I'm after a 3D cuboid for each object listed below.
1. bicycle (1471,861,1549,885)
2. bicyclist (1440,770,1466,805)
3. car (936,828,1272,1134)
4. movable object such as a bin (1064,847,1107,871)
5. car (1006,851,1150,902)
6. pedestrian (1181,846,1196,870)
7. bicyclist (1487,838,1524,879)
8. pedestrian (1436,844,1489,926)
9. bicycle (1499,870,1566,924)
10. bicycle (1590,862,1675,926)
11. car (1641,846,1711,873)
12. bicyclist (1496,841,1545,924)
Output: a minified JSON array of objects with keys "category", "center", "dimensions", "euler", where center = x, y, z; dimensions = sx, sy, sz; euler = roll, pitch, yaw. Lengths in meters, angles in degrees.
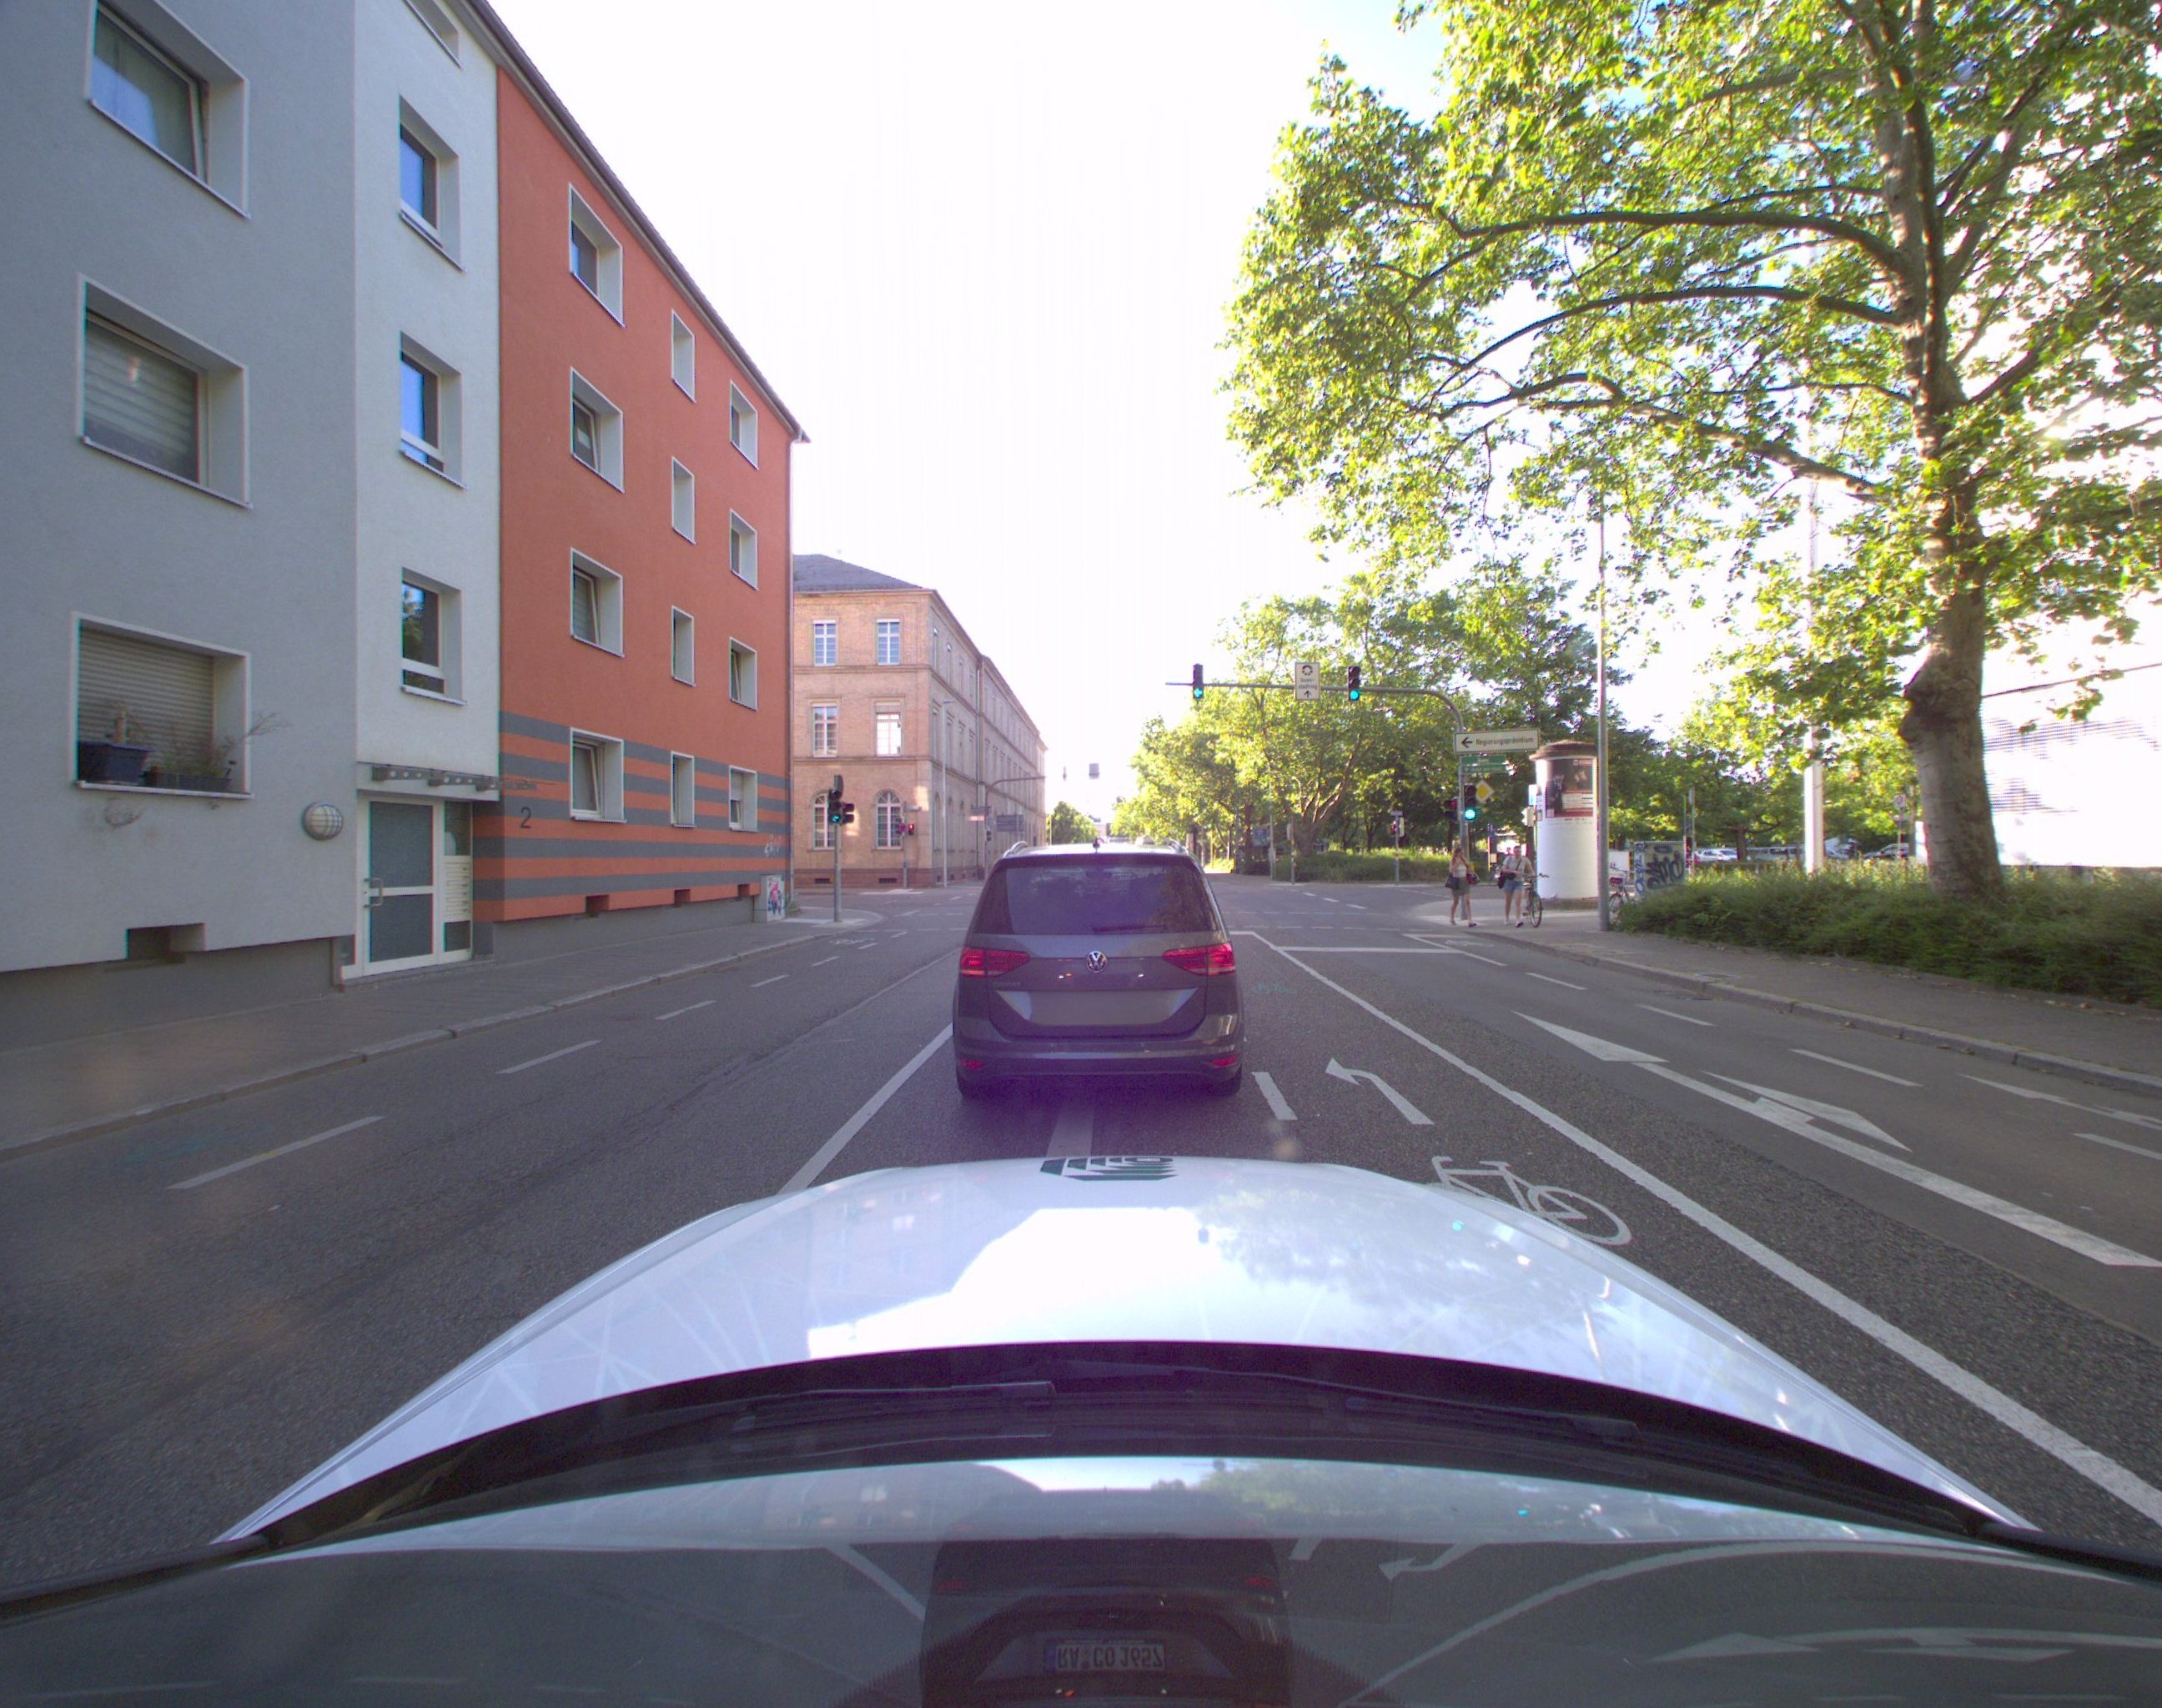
[{"category":"bicycle","center":[18.923,0.829,35.982],"dimensions":[2.987,1.038,0.942],"euler":[0,-1,-1]},{"category":"bicyclist","center":[17.670,-3.152,38.678],"dimensions":[0.941,1.545,1.133],"euler":[-1,1,34]},{"category":"car","center":[0.183,0.670,6.302],"dimensions":[1.755,1.607,4.002],"euler":[-1,0,2]},{"category":"movable object such as a bin","center":[0.560,0.581,98.001],"dimensions":[4.782,2.777,2.488],"euler":[-1,-1,45]},{"category":"car","center":[-0.147,0.697,26.781],"dimensions":[4.450,1.529,1.942],"euler":[0,0,37]},{"category":"pedestrian","center":[12.496,0.462,94.759],"dimensions":[1.417,2.667,1.146],"euler":[0,-1,-6]},{"category":"bicyclist","center":[18.752,0.196,35.970],"dimensions":[1.124,1.808,0.978],"euler":[0,-1,0]},{"category":"pedestrian","center":[8.256,0.666,17.665],"dimensions":[0.771,1.719,0.692],"euler":[-2,-2,1]},{"category":"bicycle","center":[9.351,0.868,16.939],"dimensions":[0.519,1.035,1.648],"euler":[0,-1,2]},{"category":"bicycle","center":[10.934,0.765,16.126],"dimensions":[1.998,1.182,0.466],"euler":[-1,-1,-28]},{"category":"car","center":[40.704,0.393,55.792],"dimensions":[1.985,1.779,4.002],"euler":[0,-1,2]},{"category":"bicyclist","center":[9.271,0.599,17.211],"dimensions":[0.630,1.714,0.655],"euler":[-1,-2,1]}]
